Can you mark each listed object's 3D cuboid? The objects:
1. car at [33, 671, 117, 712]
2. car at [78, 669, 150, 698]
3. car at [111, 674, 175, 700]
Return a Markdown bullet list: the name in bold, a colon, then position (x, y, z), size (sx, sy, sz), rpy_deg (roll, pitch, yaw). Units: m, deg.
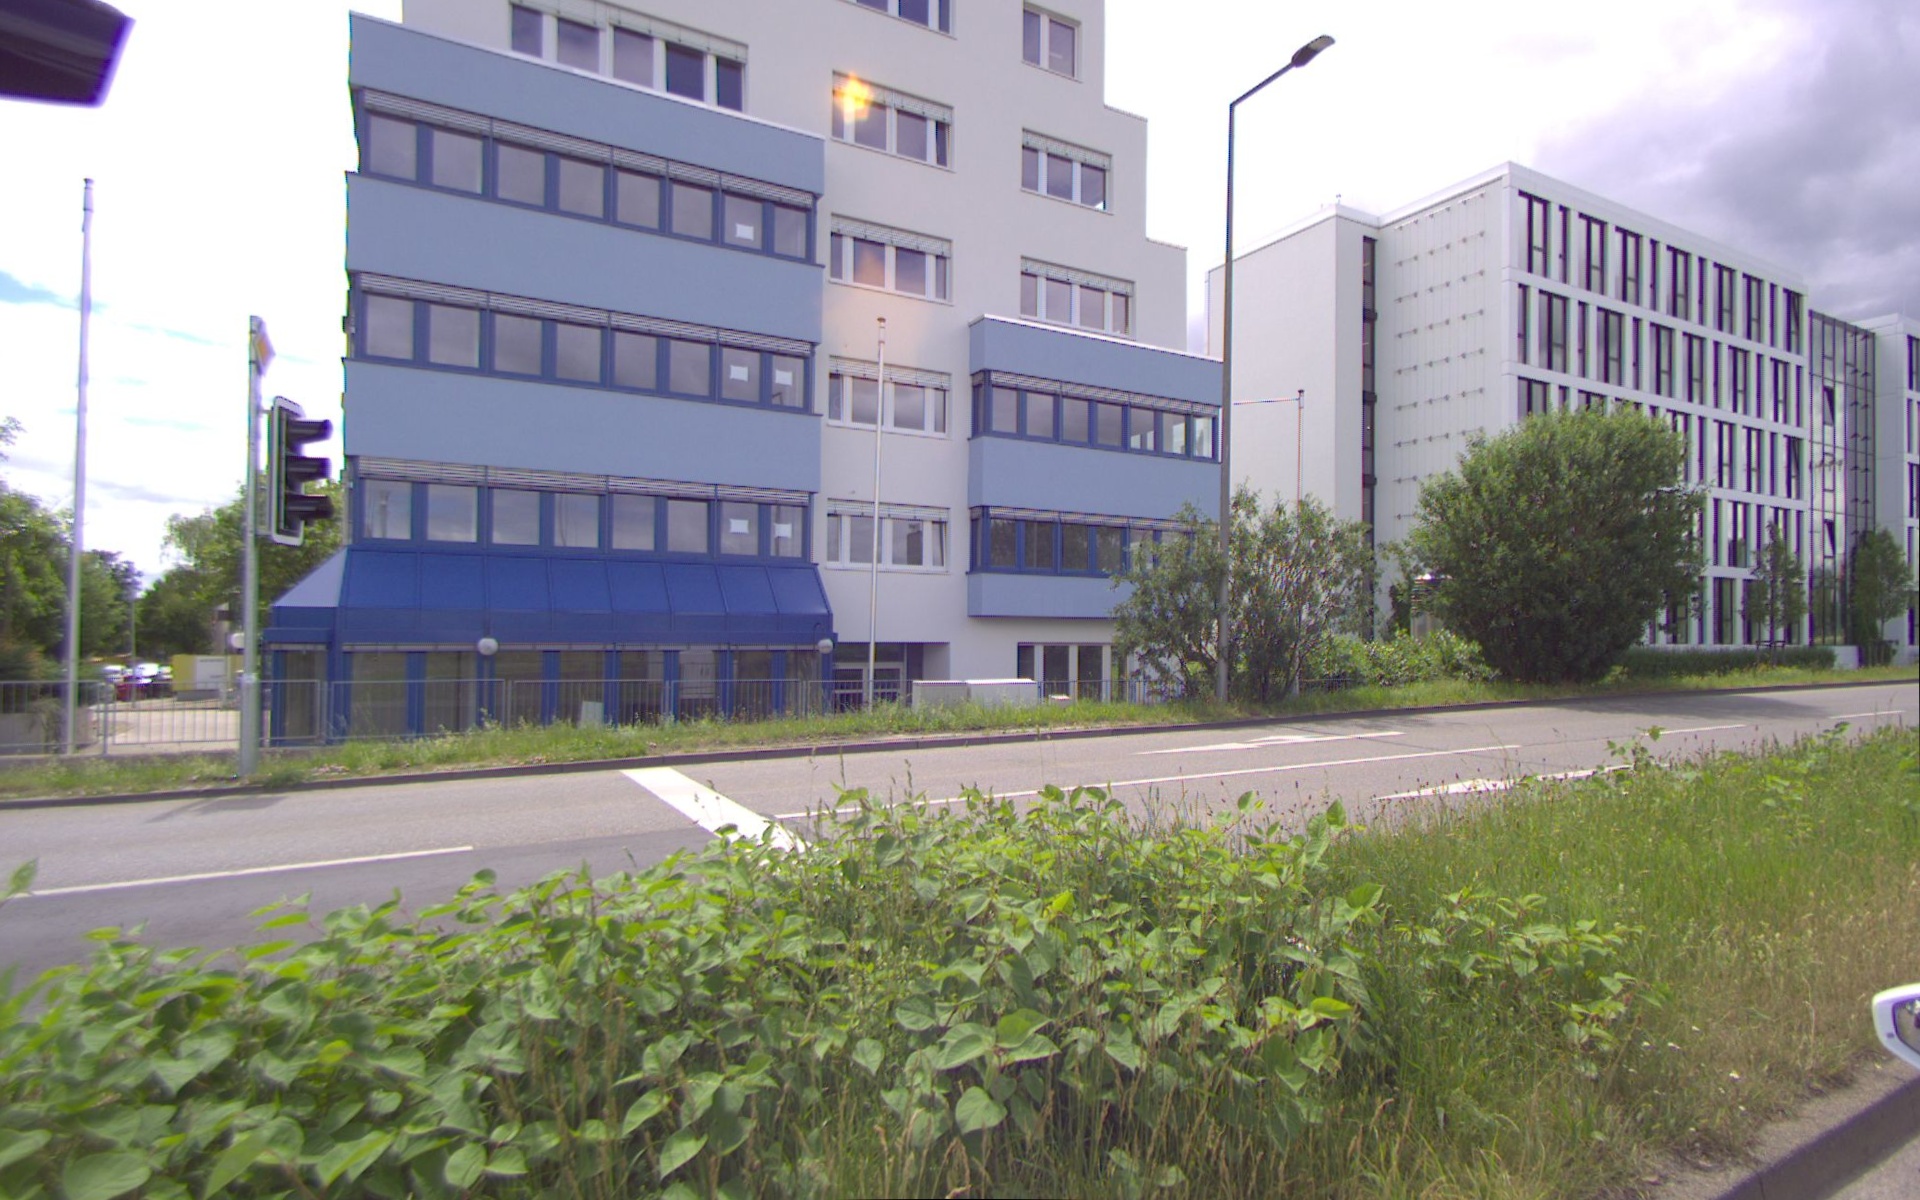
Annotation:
- **car**: position (-40.261, 4.150, 45.771), size (1.975, 1.714, 3.631), rpy_deg (1, -5, -27)
- **car**: position (-42.837, 4.231, 50.955), size (1.975, 1.347, 3.630), rpy_deg (1, -5, -27)
- **car**: position (-45.268, 4.796, 55.723), size (1.975, 1.347, 3.630), rpy_deg (1, -5, -27)
